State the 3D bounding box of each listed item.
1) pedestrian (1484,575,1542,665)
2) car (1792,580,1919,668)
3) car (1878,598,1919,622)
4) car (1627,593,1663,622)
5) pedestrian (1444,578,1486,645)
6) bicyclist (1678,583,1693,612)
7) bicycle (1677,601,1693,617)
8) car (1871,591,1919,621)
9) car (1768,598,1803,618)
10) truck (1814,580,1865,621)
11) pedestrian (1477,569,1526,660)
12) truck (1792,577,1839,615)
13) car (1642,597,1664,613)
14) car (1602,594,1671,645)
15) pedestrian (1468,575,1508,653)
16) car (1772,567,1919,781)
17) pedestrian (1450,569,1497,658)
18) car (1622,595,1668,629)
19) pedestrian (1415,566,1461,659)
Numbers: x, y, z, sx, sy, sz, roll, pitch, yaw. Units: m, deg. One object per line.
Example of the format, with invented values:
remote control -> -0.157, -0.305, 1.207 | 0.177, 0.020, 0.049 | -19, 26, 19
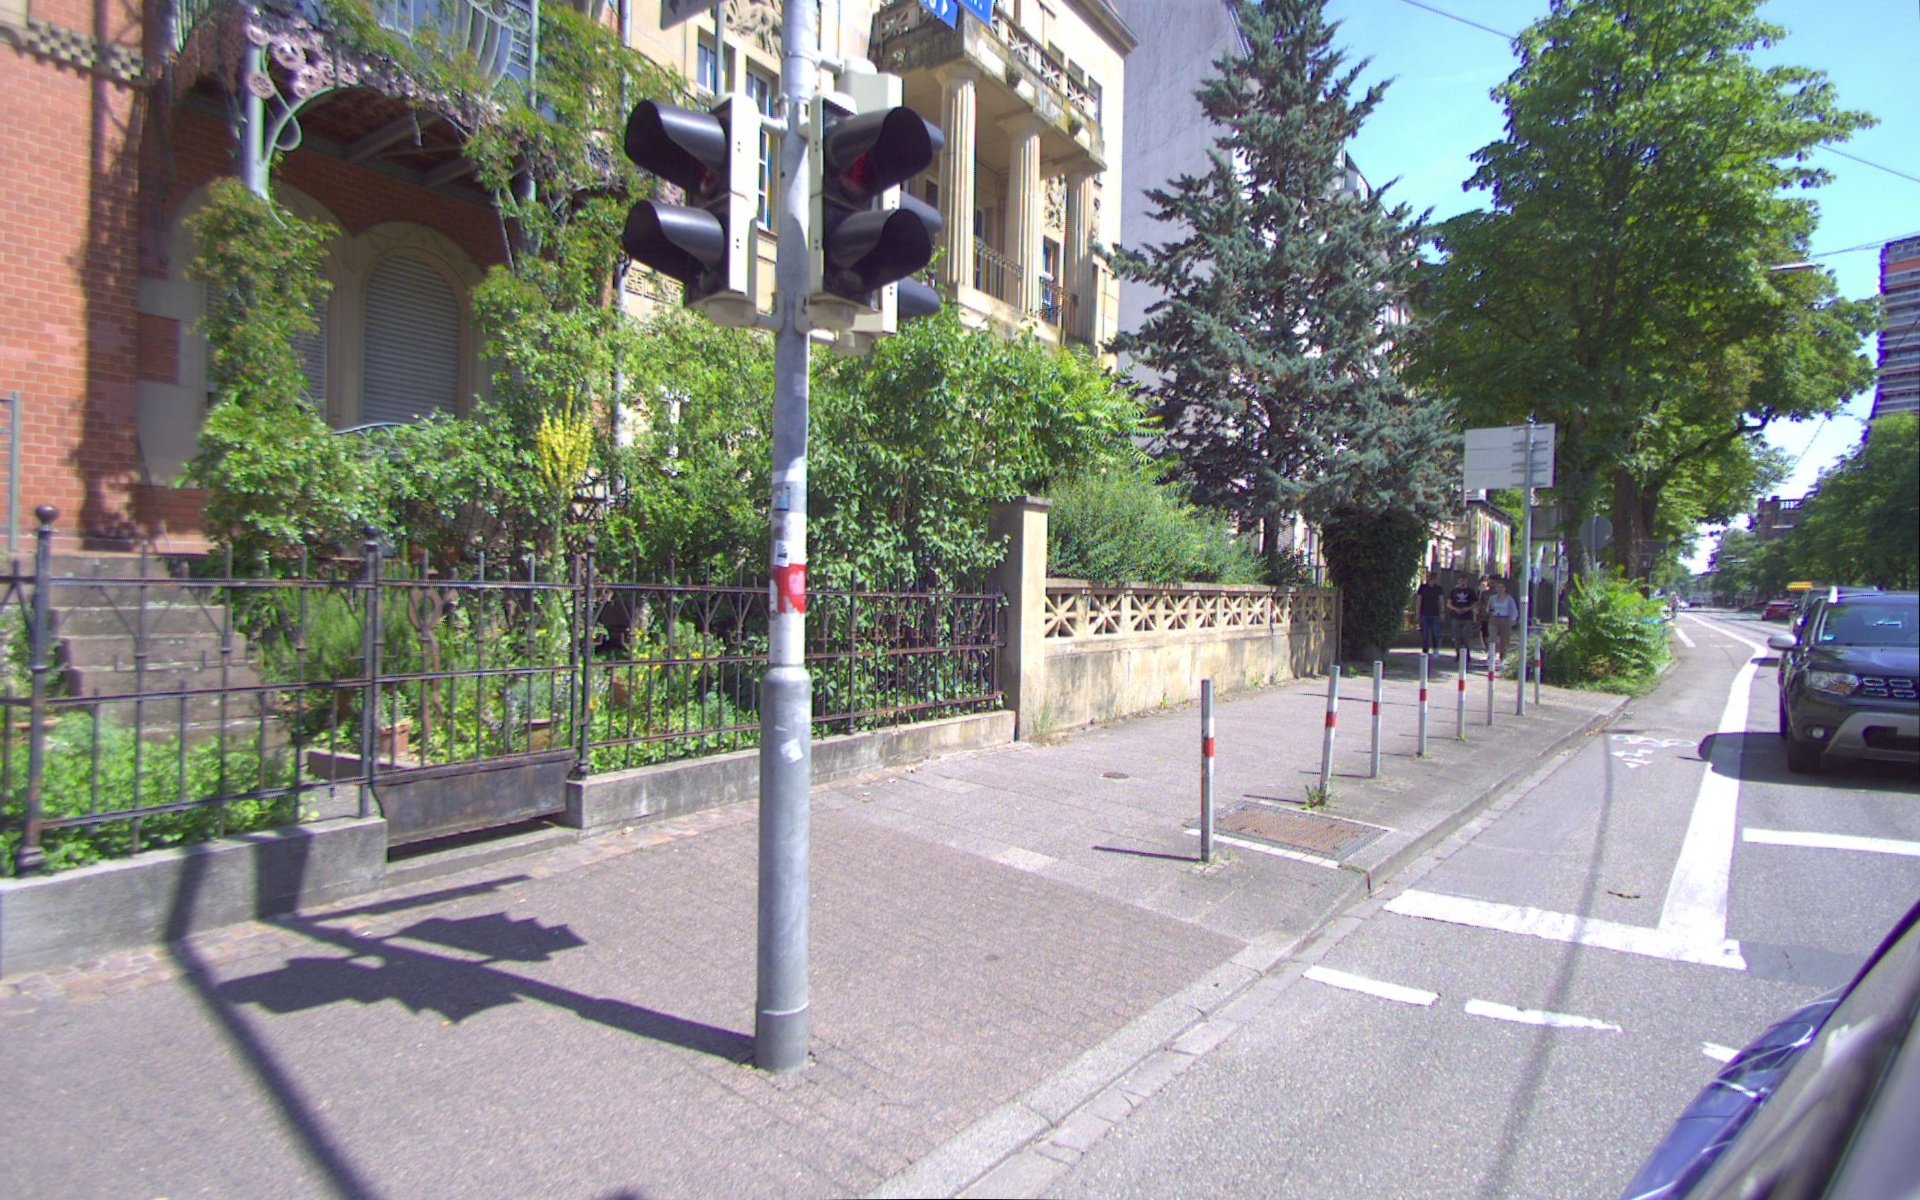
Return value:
pedestrian -> 10.698, 0.370, 19.563 | 0.766, 1.672, 0.959 | 2, 0, 42
car -> 20.601, 0.526, 23.415 | 1.743, 1.840, 4.252 | -2, -1, 36
car -> 67.063, 0.747, 71.199 | 3.609, 1.594, 1.685 | 1, 1, -7
car -> 42.226, 0.452, 62.343 | 1.725, 1.636, 4.032 | 4, 2, 35
pedestrian -> 12.913, 0.279, 25.876 | 0.853, 1.666, 0.827 | 2, 1, 33
bicyclist -> 52.152, -0.178, 72.792 | 0.767, 2.039, 0.799 | 1, 0, 31
bicycle -> 52.164, 0.625, 72.852 | 0.807, 1.109, 2.148 | 1, 1, 33
car -> 69.258, 0.451, 73.953 | 3.972, 2.068, 1.604 | 1, 0, -5
car -> 60.847, 0.597, 74.640 | 1.818, 1.431, 4.369 | 1, 0, 37
truck -> 66.836, 0.038, 76.971 | 2.295, 2.957, 6.430 | 2, 1, 36
pedestrian -> 11.029, 0.279, 20.592 | 0.703, 1.799, 0.934 | 1, 0, 38
truck -> 100.418, -0.471, 118.748 | 10.291, 4.232, 2.673 | 1, 1, -42
car -> 65.673, 0.474, 95.881 | 1.617, 1.420, 3.950 | 4, 2, 35
car -> 21.204, 0.579, 31.741 | 1.671, 1.461, 3.675 | 2, 1, 34
pedestrian -> 12.701, 0.315, 24.342 | 0.682, 1.820, 1.070 | 1, 0, 35
car -> 8.926, 0.582, 9.529 | 1.743, 1.672, 4.242 | 0, 0, 36
pedestrian -> 10.624, 0.261, 20.920 | 0.783, 1.784, 1.041 | 1, 0, 30
car -> 31.715, 0.545, 46.859 | 1.685, 1.471, 3.431 | 2, 1, 34
pedestrian -> 9.788, 0.240, 20.717 | 0.658, 1.834, 0.965 | 1, 0, 35
